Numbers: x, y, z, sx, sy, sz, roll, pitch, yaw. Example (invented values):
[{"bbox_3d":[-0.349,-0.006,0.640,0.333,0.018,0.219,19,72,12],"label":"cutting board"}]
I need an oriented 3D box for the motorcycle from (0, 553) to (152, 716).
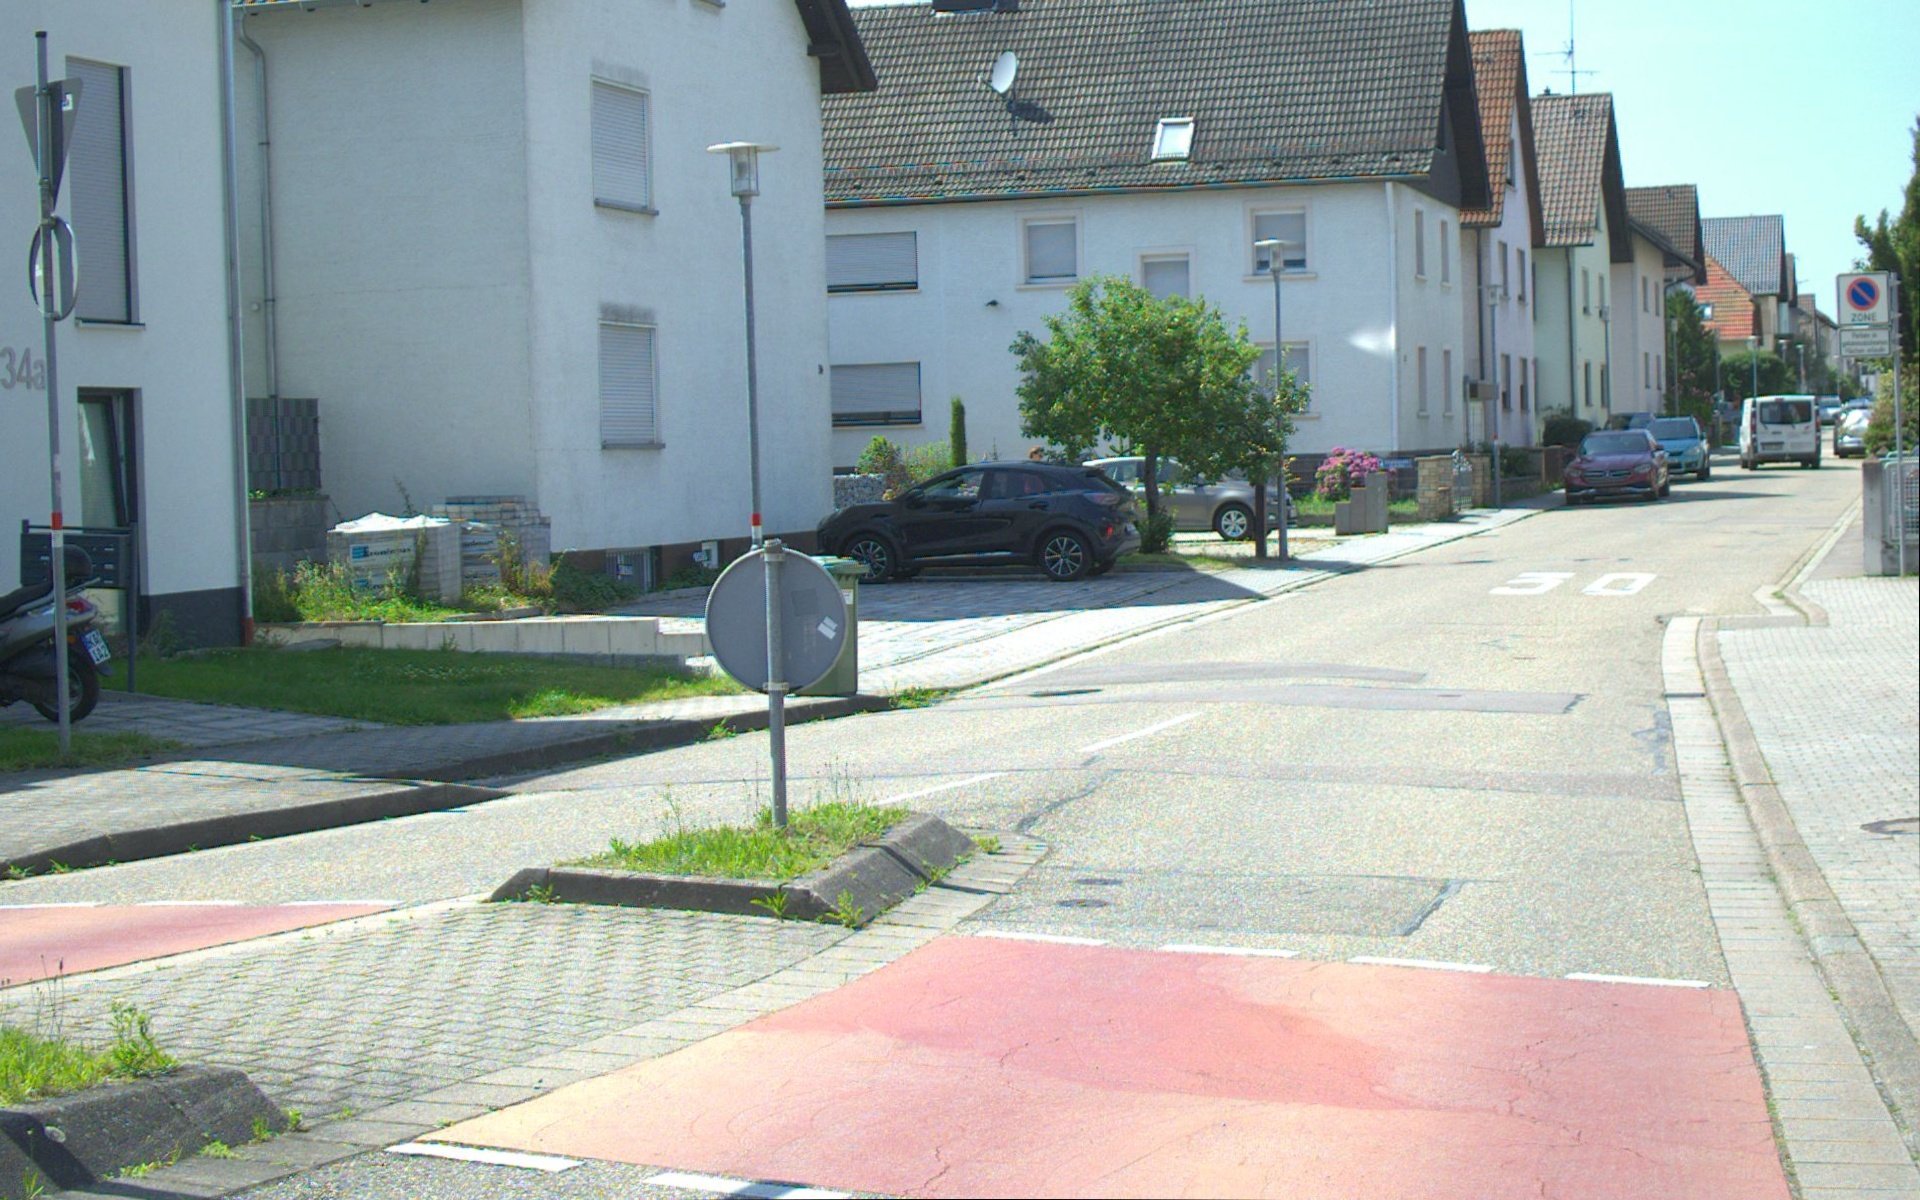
[{"bbox_3d":[-6.387,0.214,22.035,2.363,1.010,0.671,0,0,20],"label":"motorcycle"}]

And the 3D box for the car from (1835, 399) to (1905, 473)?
[{"bbox_3d":[27.358,-4.899,103.284,1.953,2.065,3.997,-1,1,16],"label":"car"}]

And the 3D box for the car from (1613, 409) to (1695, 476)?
[{"bbox_3d":[17.206,-3.893,85.373,1.925,1.598,3.999,-1,2,10],"label":"car"}]

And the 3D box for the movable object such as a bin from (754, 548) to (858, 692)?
[{"bbox_3d":[-1.189,0.148,26.572,0.646,1.080,0.458,0,3,24],"label":"movable object such as a bin"}]

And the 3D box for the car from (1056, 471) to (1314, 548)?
[{"bbox_3d":[3.731,-1.502,56.741,3.989,1.186,1.840,0,2,14],"label":"car"}]

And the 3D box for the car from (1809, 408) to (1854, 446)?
[{"bbox_3d":[44.898,-8.899,177.086,1.956,1.807,3.996,1,2,19],"label":"car"}]

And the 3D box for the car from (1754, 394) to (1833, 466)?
[{"bbox_3d":[22.307,-4.526,91.893,1.853,1.781,3.997,-1,1,16],"label":"car"}]

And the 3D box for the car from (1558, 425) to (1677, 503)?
[{"bbox_3d":[13.656,-2.830,71.247,1.995,1.548,3.997,0,3,17],"label":"car"}]

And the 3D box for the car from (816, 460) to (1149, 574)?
[{"bbox_3d":[0.306,-1.075,44.243,3.989,1.378,1.659,-1,2,14],"label":"car"}]
